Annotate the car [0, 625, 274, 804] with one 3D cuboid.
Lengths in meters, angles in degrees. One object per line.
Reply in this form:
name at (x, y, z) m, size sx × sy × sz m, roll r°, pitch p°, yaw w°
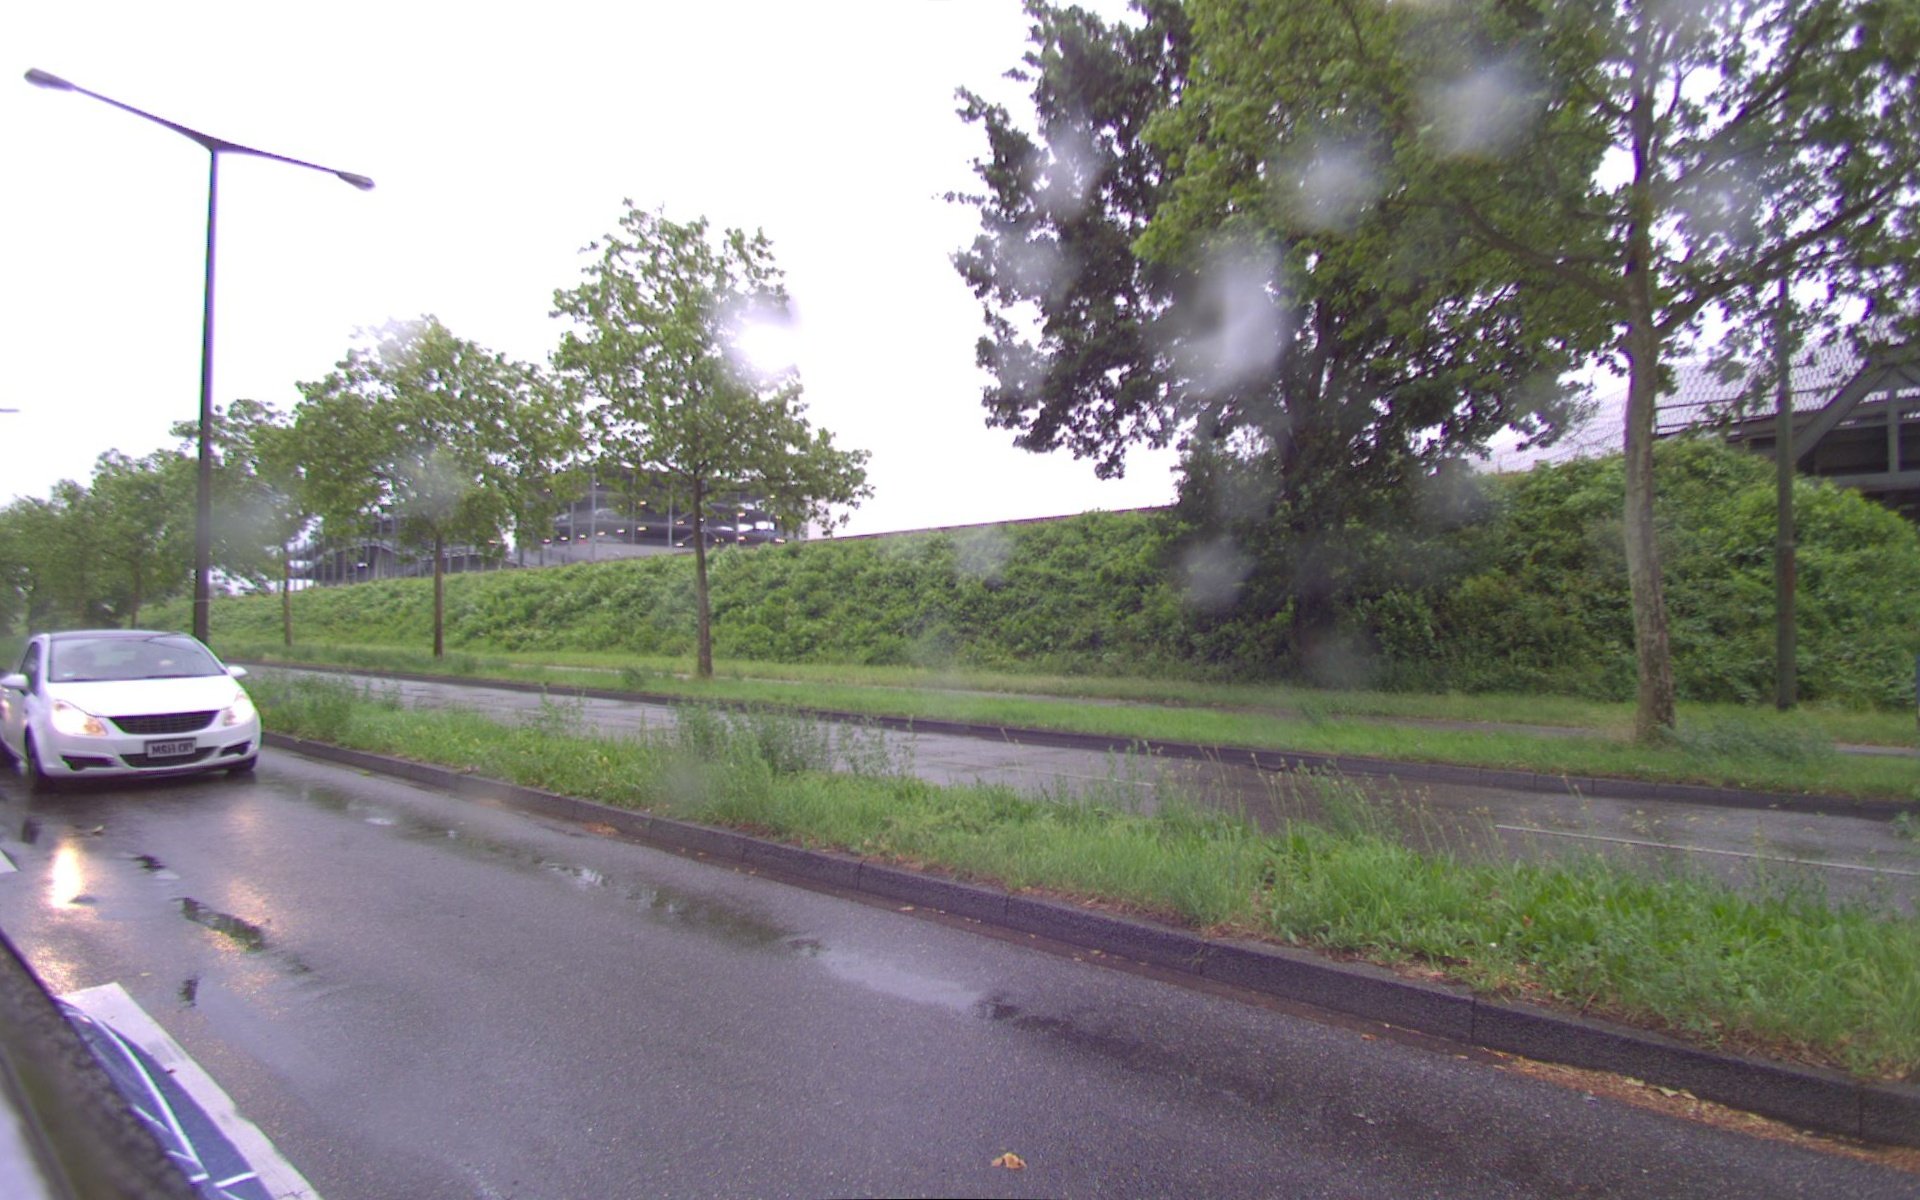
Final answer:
car at (-8.429, 0.979, 10.084) m, size 4.008 × 1.387 × 1.661 m, roll -2°, pitch -1°, yaw 41°
